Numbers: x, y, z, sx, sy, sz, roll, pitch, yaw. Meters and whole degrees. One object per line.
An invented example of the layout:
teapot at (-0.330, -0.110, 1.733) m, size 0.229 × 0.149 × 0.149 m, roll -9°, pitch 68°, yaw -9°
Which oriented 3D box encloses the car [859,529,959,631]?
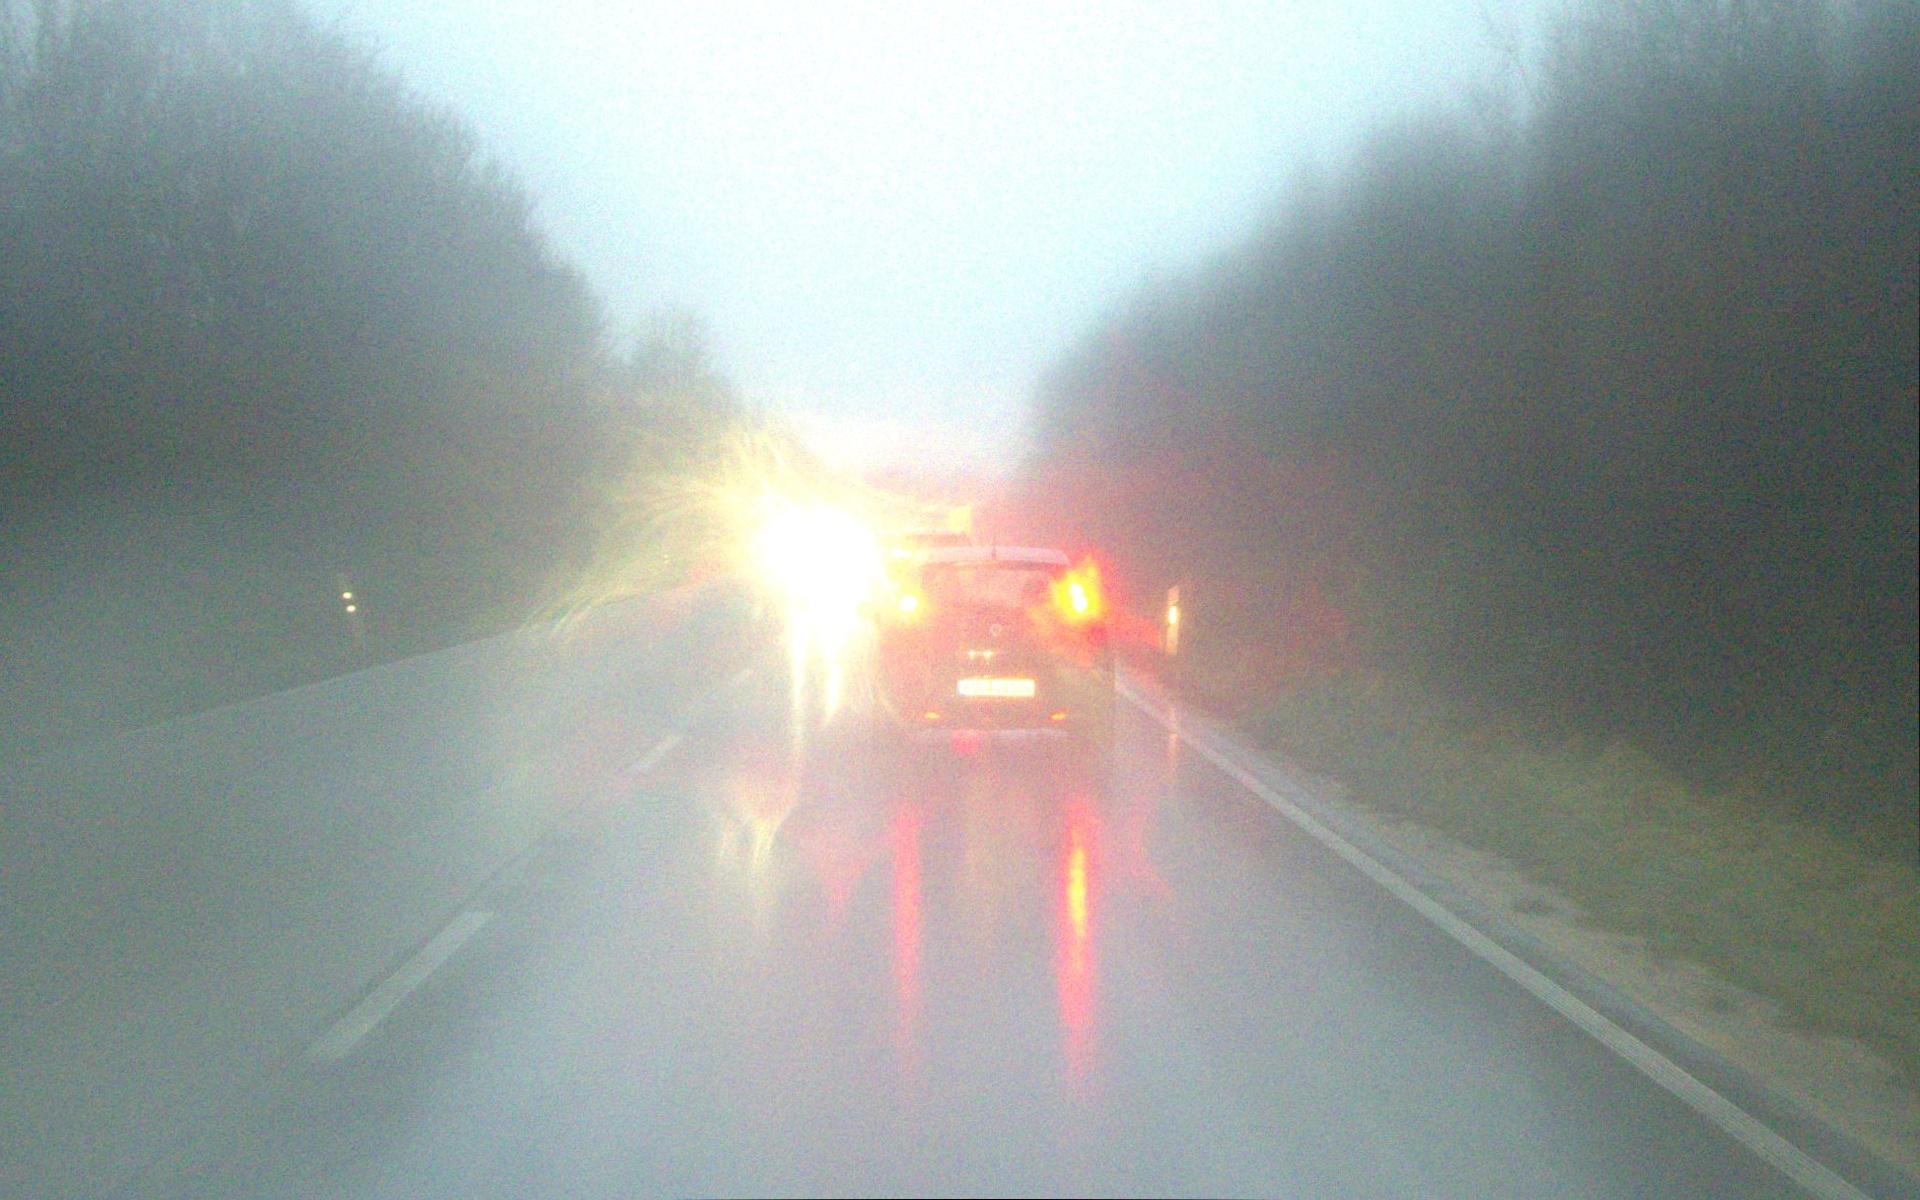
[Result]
car at (-0.934, -0.381, 62.111) m, size 1.733 × 1.773 × 4.000 m, roll 1°, pitch 1°, yaw -1°

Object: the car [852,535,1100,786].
car at (0.129, 0.376, 24.817) m, size 1.648 × 1.666 × 3.514 m, roll 1°, pitch 1°, yaw 1°
